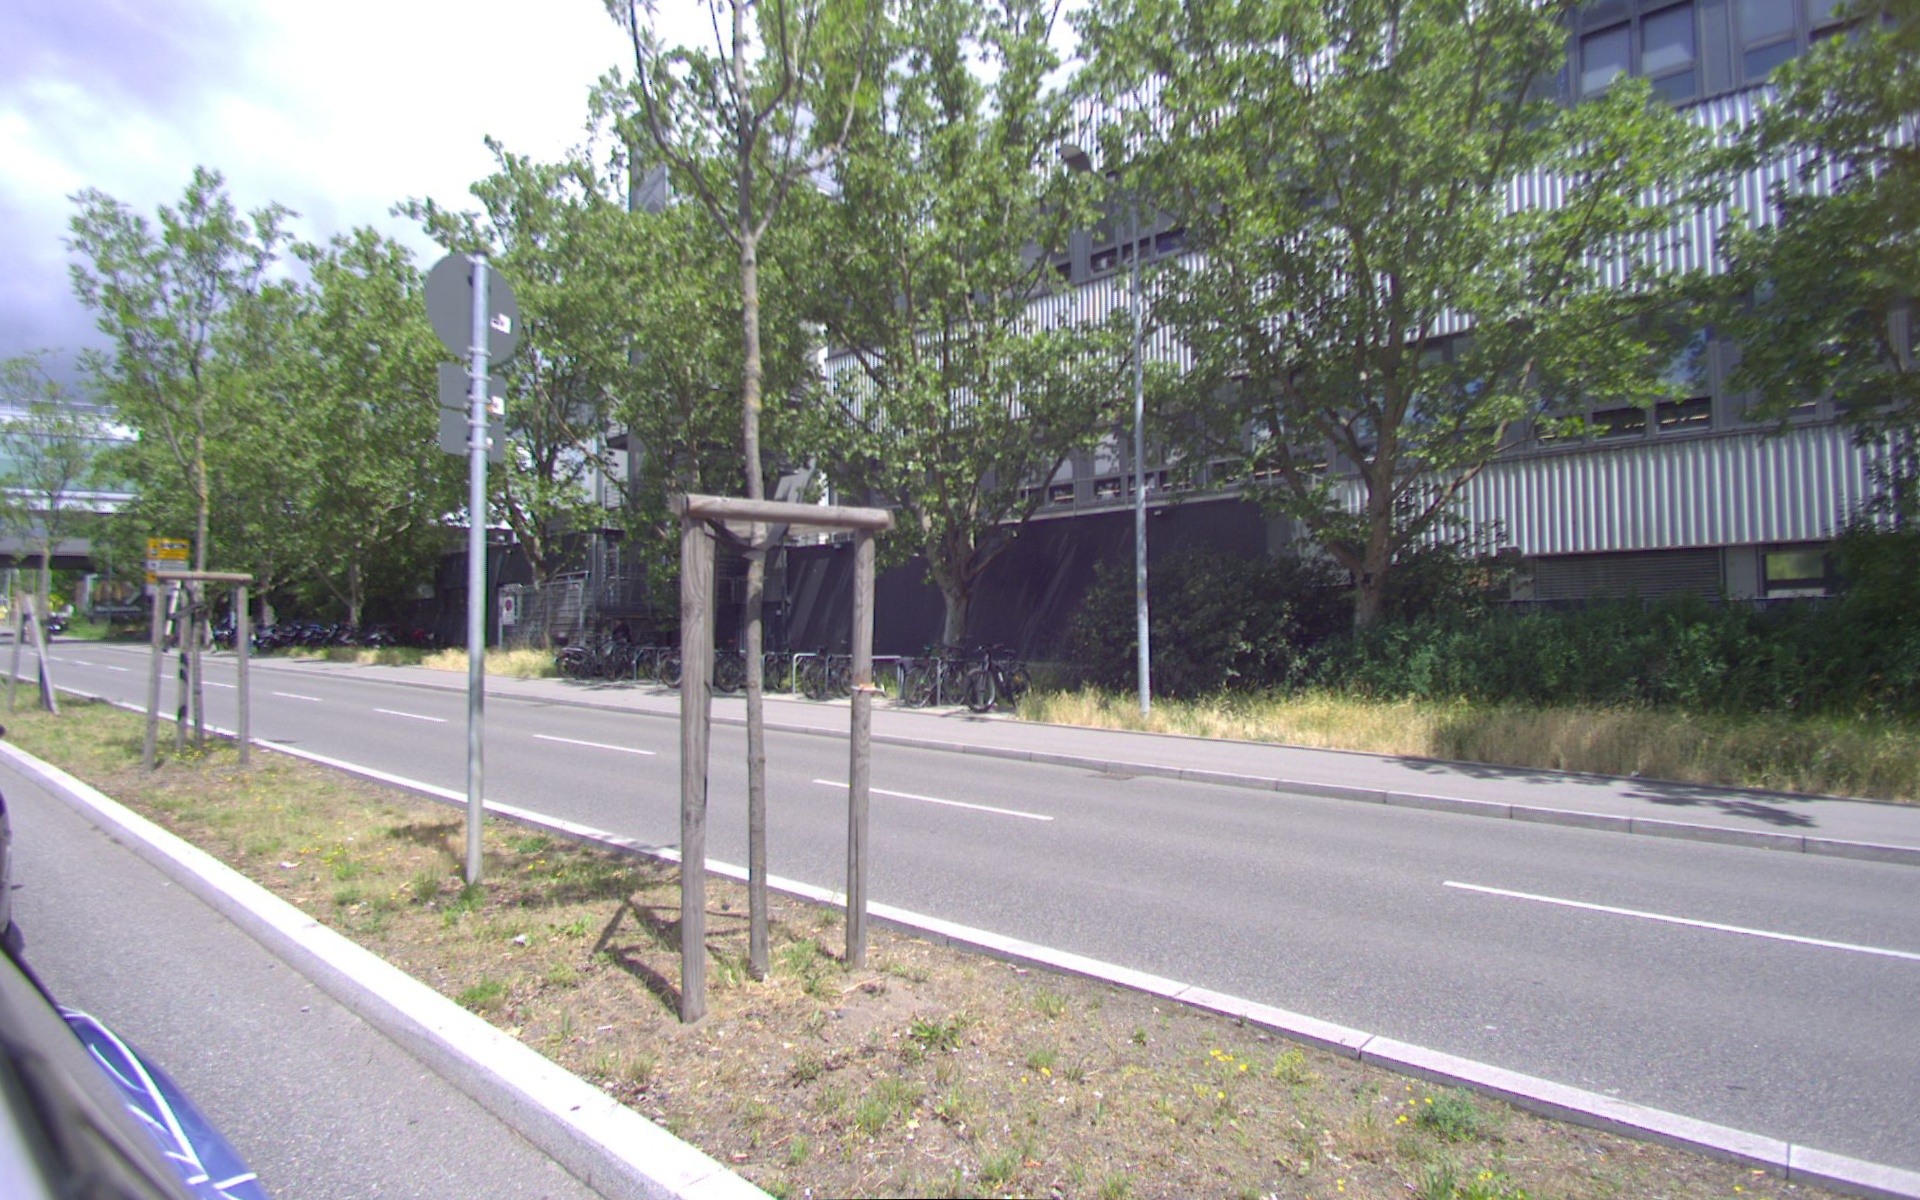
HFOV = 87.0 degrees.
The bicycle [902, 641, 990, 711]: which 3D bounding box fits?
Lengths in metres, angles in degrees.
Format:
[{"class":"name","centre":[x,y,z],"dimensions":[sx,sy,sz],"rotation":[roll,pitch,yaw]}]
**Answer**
[{"class":"bicycle","centre":[-0.222,1.336,18.120],"dimensions":[0.381,1.137,1.968],"rotation":[-2,-1,39]}]

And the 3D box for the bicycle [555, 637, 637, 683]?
[{"class":"bicycle","centre":[-9.548,1.553,26.632],"dimensions":[0.382,1.119,2.101],"rotation":[-2,-1,43]}]

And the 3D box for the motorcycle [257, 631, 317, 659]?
[{"class":"motorcycle","centre":[-29.190,1.934,43.895],"dimensions":[0.534,1.146,2.105],"rotation":[-2,-1,41]}]

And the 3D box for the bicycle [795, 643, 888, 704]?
[{"class":"bicycle","centre":[-2.343,1.436,20.229],"dimensions":[0.382,1.104,2.101],"rotation":[-2,-1,43]}]

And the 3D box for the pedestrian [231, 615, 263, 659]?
[{"class":"pedestrian","centre":[-28.873,1.490,40.977],"dimensions":[0.672,1.734,0.888],"rotation":[-2,-2,41]}]

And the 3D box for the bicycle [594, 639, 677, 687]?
[{"class":"bicycle","centre":[-8.163,1.568,25.538],"dimensions":[0.382,1.119,2.101],"rotation":[-2,-1,43]}]

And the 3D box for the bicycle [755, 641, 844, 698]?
[{"class":"bicycle","centre":[-3.414,1.458,21.751],"dimensions":[0.382,1.119,2.101],"rotation":[-2,-1,43]}]

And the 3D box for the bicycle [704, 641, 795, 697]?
[{"class":"bicycle","centre":[-4.545,1.480,22.017],"dimensions":[0.382,1.119,2.101],"rotation":[-2,-1,43]}]

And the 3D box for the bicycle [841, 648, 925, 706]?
[{"class":"bicycle","centre":[-1.472,1.478,19.707],"dimensions":[0.381,1.005,1.968],"rotation":[-2,-1,39]}]

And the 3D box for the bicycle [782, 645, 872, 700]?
[{"class":"bicycle","centre":[-2.746,1.481,21.137],"dimensions":[0.382,1.038,2.101],"rotation":[-2,-1,43]}]

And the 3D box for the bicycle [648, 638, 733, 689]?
[{"class":"bicycle","centre":[-6.483,1.513,24.414],"dimensions":[0.382,1.119,2.101],"rotation":[-2,-1,43]}]

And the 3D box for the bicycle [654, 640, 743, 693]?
[{"class":"bicycle","centre":[-5.992,1.501,23.264],"dimensions":[0.382,1.119,2.101],"rotation":[-2,-1,43]}]

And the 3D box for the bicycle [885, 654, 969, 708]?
[{"class":"bicycle","centre":[-0.600,1.522,19.221],"dimensions":[0.381,0.897,1.968],"rotation":[-2,-1,39]}]

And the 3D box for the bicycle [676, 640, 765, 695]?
[{"class":"bicycle","centre":[-5.336,1.490,22.668],"dimensions":[0.382,1.119,2.101],"rotation":[-2,-1,43]}]

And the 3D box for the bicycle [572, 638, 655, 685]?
[{"class":"bicycle","centre":[-8.907,1.572,26.087],"dimensions":[0.382,1.119,2.101],"rotation":[-2,-1,43]}]

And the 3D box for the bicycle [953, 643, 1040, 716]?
[{"class":"bicycle","centre":[0.657,1.340,17.398],"dimensions":[0.381,1.137,1.968],"rotation":[-2,-1,39]}]

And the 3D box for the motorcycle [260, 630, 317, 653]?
[{"class":"motorcycle","centre":[-30.606,1.892,46.150],"dimensions":[0.534,0.976,2.105],"rotation":[-2,-1,41]}]

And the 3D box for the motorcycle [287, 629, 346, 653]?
[{"class":"motorcycle","centre":[-27.648,1.756,43.507],"dimensions":[0.534,0.976,2.105],"rotation":[-2,-1,41]}]

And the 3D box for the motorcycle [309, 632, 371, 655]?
[{"class":"motorcycle","centre":[-25.251,1.754,41.273],"dimensions":[0.534,0.892,2.105],"rotation":[-2,-1,41]}]

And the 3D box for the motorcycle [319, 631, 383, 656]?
[{"class":"motorcycle","centre":[-23.959,1.712,39.817],"dimensions":[0.534,0.905,2.105],"rotation":[-2,-1,41]}]
